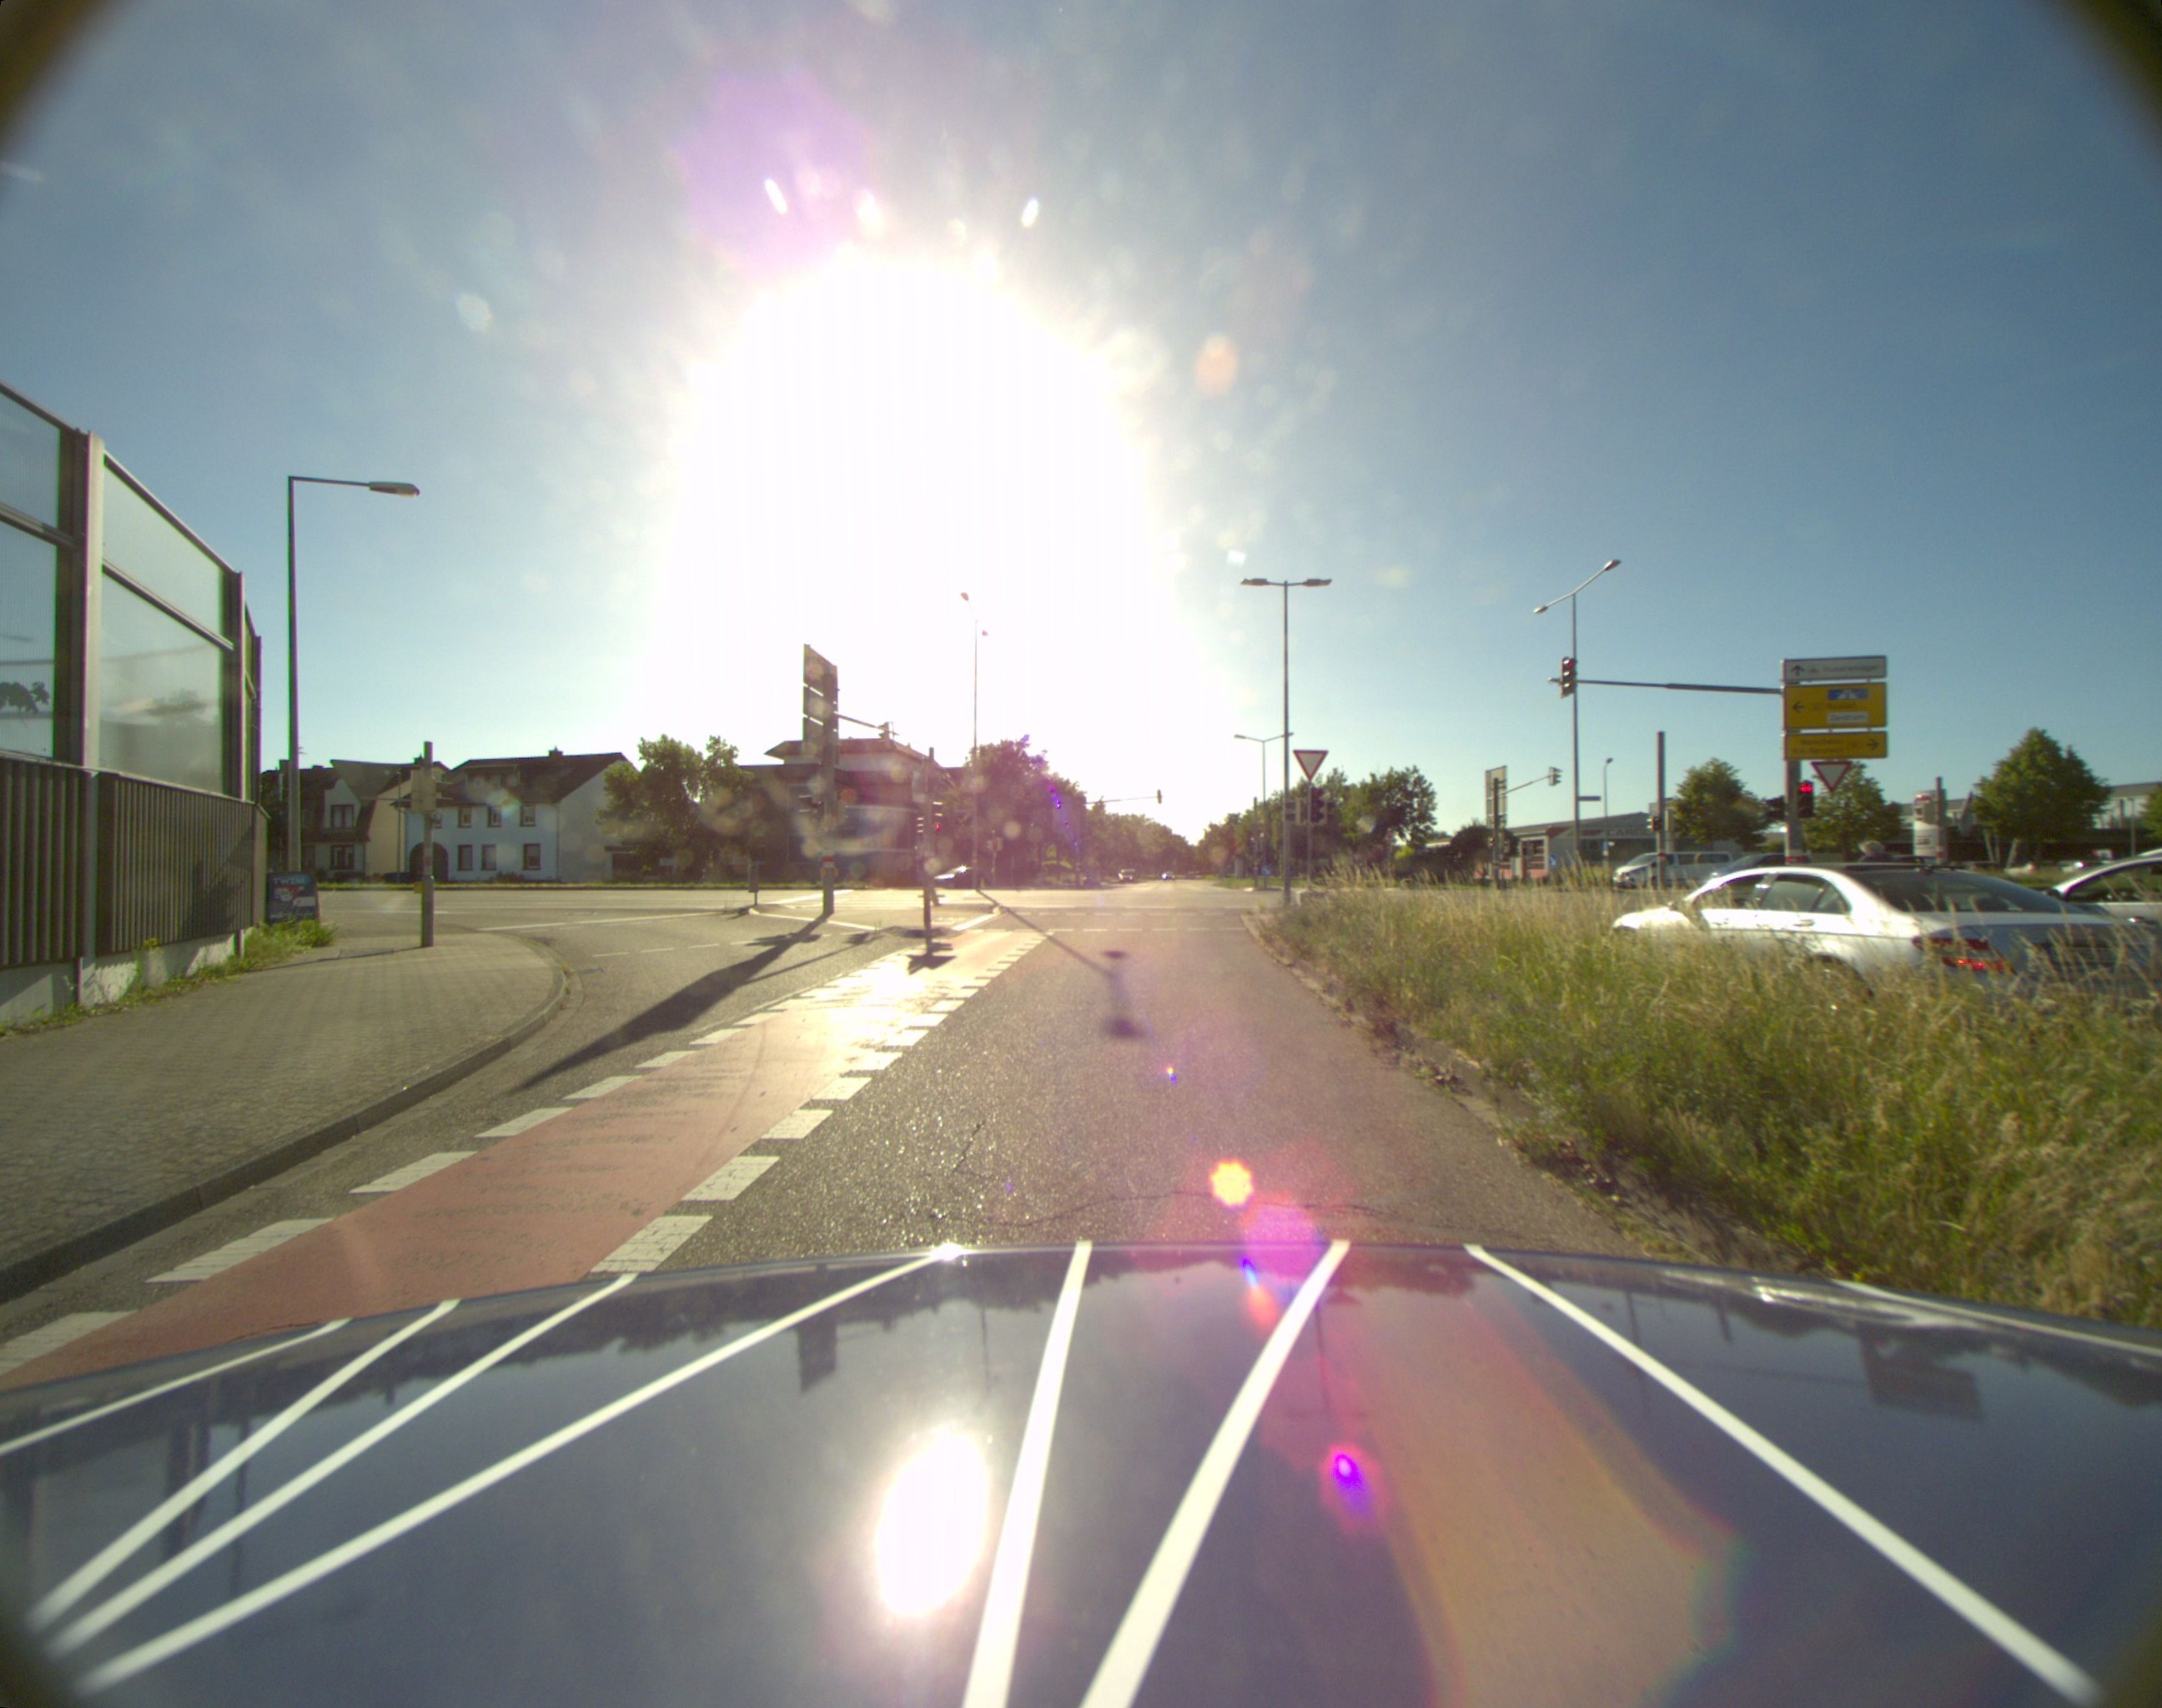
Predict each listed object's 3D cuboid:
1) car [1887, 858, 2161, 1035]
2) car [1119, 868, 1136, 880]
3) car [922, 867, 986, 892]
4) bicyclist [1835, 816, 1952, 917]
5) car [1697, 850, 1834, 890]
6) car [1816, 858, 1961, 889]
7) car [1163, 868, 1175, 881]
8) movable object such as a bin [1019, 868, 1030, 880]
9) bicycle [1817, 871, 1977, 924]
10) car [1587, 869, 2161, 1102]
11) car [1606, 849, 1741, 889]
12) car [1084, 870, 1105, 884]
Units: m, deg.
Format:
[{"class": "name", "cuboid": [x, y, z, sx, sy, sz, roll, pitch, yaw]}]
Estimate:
[{"class": "car", "cuboid": [10.998, 0.858, 7.276, 1.998, 1.634, 4.532, 0, 0, 5]}, {"class": "car", "cuboid": [5.810, 2.480, 94.011, 1.775, 1.477, 4.218, 1, -1, 8]}, {"class": "car", "cuboid": [-8.085, 1.612, 48.160, 3.782, 1.477, 1.776, -1, -1, -17]}, {"class": "bicyclist", "cuboid": [14.150, 0.210, 13.280, 0.746, 1.692, 1.242, 0, 0, 4]}, {"class": "car", "cuboid": [28.940, 0.702, 32.242, 4.036, 1.633, 1.894, 0, -2, 1]}, {"class": "car", "cuboid": [34.219, 0.856, 32.286, 4.036, 1.266, 1.894, 0, -2, 1]}, {"class": "car", "cuboid": [14.165, 3.320, 121.991, 1.729, 2.002, 4.001, 0, 0, 3]}, {"class": "movable object such as a bin", "cuboid": [-6.359, 2.254, 84.932, 1.089, 1.314, 0.797, -1, -1, 7]}, {"class": "bicycle", "cuboid": [14.157, 0.719, 13.285, 0.750, 0.842, 1.991, 0, -1, 4]}, {"class": "car", "cuboid": [7.150, 0.926, 7.359, 1.797, 1.497, 4.532, 0, 0, 5]}, {"class": "car", "cuboid": [30.480, 0.804, 39.187, 5.271, 2.001, 2.049, 0, -2, 1]}, {"class": "car", "cuboid": [1.486, 2.523, 83.385, 1.775, 1.477, 4.218, 1, -1, 8]}]
